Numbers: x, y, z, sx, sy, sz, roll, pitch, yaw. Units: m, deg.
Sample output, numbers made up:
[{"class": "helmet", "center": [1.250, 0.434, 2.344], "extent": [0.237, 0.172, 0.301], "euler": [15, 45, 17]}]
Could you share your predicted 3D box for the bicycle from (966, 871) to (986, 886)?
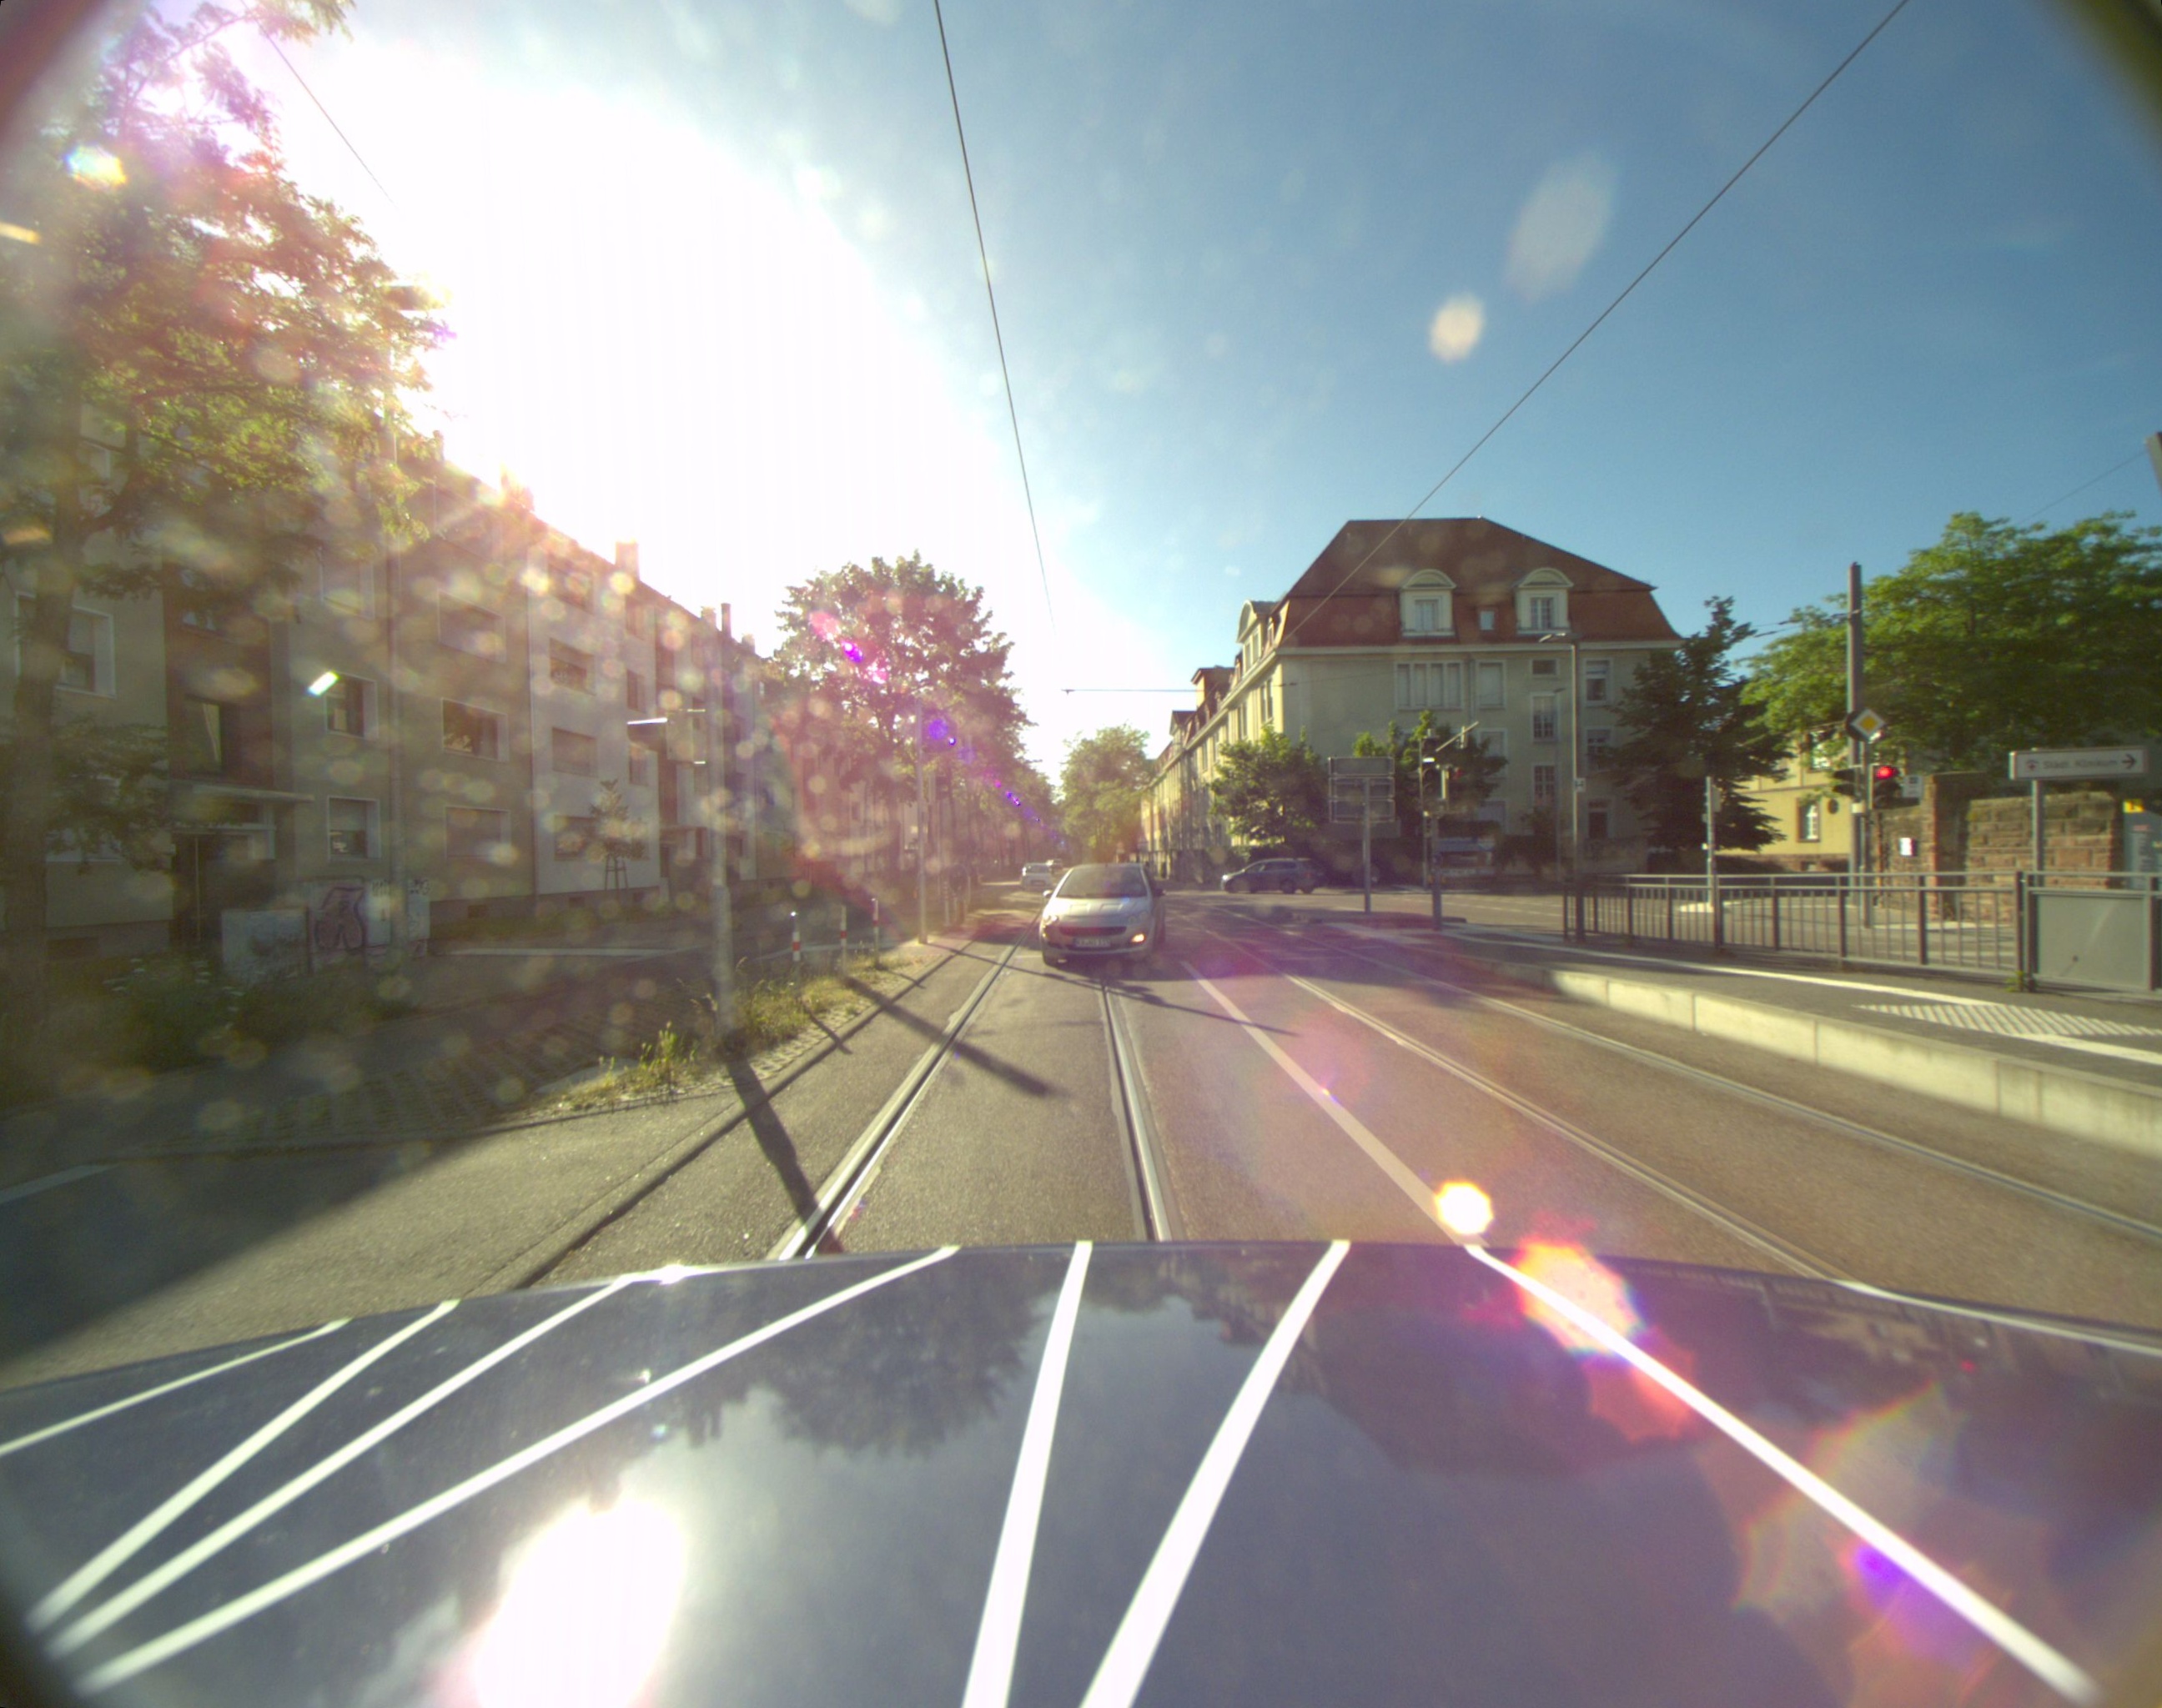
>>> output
[{"class": "bicycle", "center": [-6.711, 1.572, 48.863], "extent": [0.826, 0.880, 2.199], "euler": [-1, 0, 4]}]

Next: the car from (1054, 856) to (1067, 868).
[{"class": "car", "center": [-3.354, 1.304, 122.088], "extent": [1.825, 1.751, 3.692], "euler": [-3, 0, -4]}]

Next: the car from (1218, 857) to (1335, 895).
[{"class": "car", "center": [8.056, 0.895, 31.541], "extent": [4.393, 1.450, 1.747], "euler": [-1, 0, 40]}]

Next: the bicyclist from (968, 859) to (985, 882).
[{"class": "bicyclist", "center": [-6.721, 1.057, 48.888], "extent": [0.818, 1.491, 1.258], "euler": [-1, 0, 4]}]

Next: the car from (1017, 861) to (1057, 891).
[{"class": "car", "center": [-2.394, 1.139, 40.480], "extent": [1.743, 1.450, 3.691], "euler": [-1, 0, -8]}]

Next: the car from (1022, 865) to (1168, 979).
[{"class": "car", "center": [0.382, 0.938, 11.959], "extent": [1.740, 1.450, 3.696], "euler": [-1, 0, 10]}]

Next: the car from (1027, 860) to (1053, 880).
[{"class": "car", "center": [-3.346, 1.266, 61.039], "extent": [1.743, 1.567, 3.691], "euler": [-1, 0, -8]}]
